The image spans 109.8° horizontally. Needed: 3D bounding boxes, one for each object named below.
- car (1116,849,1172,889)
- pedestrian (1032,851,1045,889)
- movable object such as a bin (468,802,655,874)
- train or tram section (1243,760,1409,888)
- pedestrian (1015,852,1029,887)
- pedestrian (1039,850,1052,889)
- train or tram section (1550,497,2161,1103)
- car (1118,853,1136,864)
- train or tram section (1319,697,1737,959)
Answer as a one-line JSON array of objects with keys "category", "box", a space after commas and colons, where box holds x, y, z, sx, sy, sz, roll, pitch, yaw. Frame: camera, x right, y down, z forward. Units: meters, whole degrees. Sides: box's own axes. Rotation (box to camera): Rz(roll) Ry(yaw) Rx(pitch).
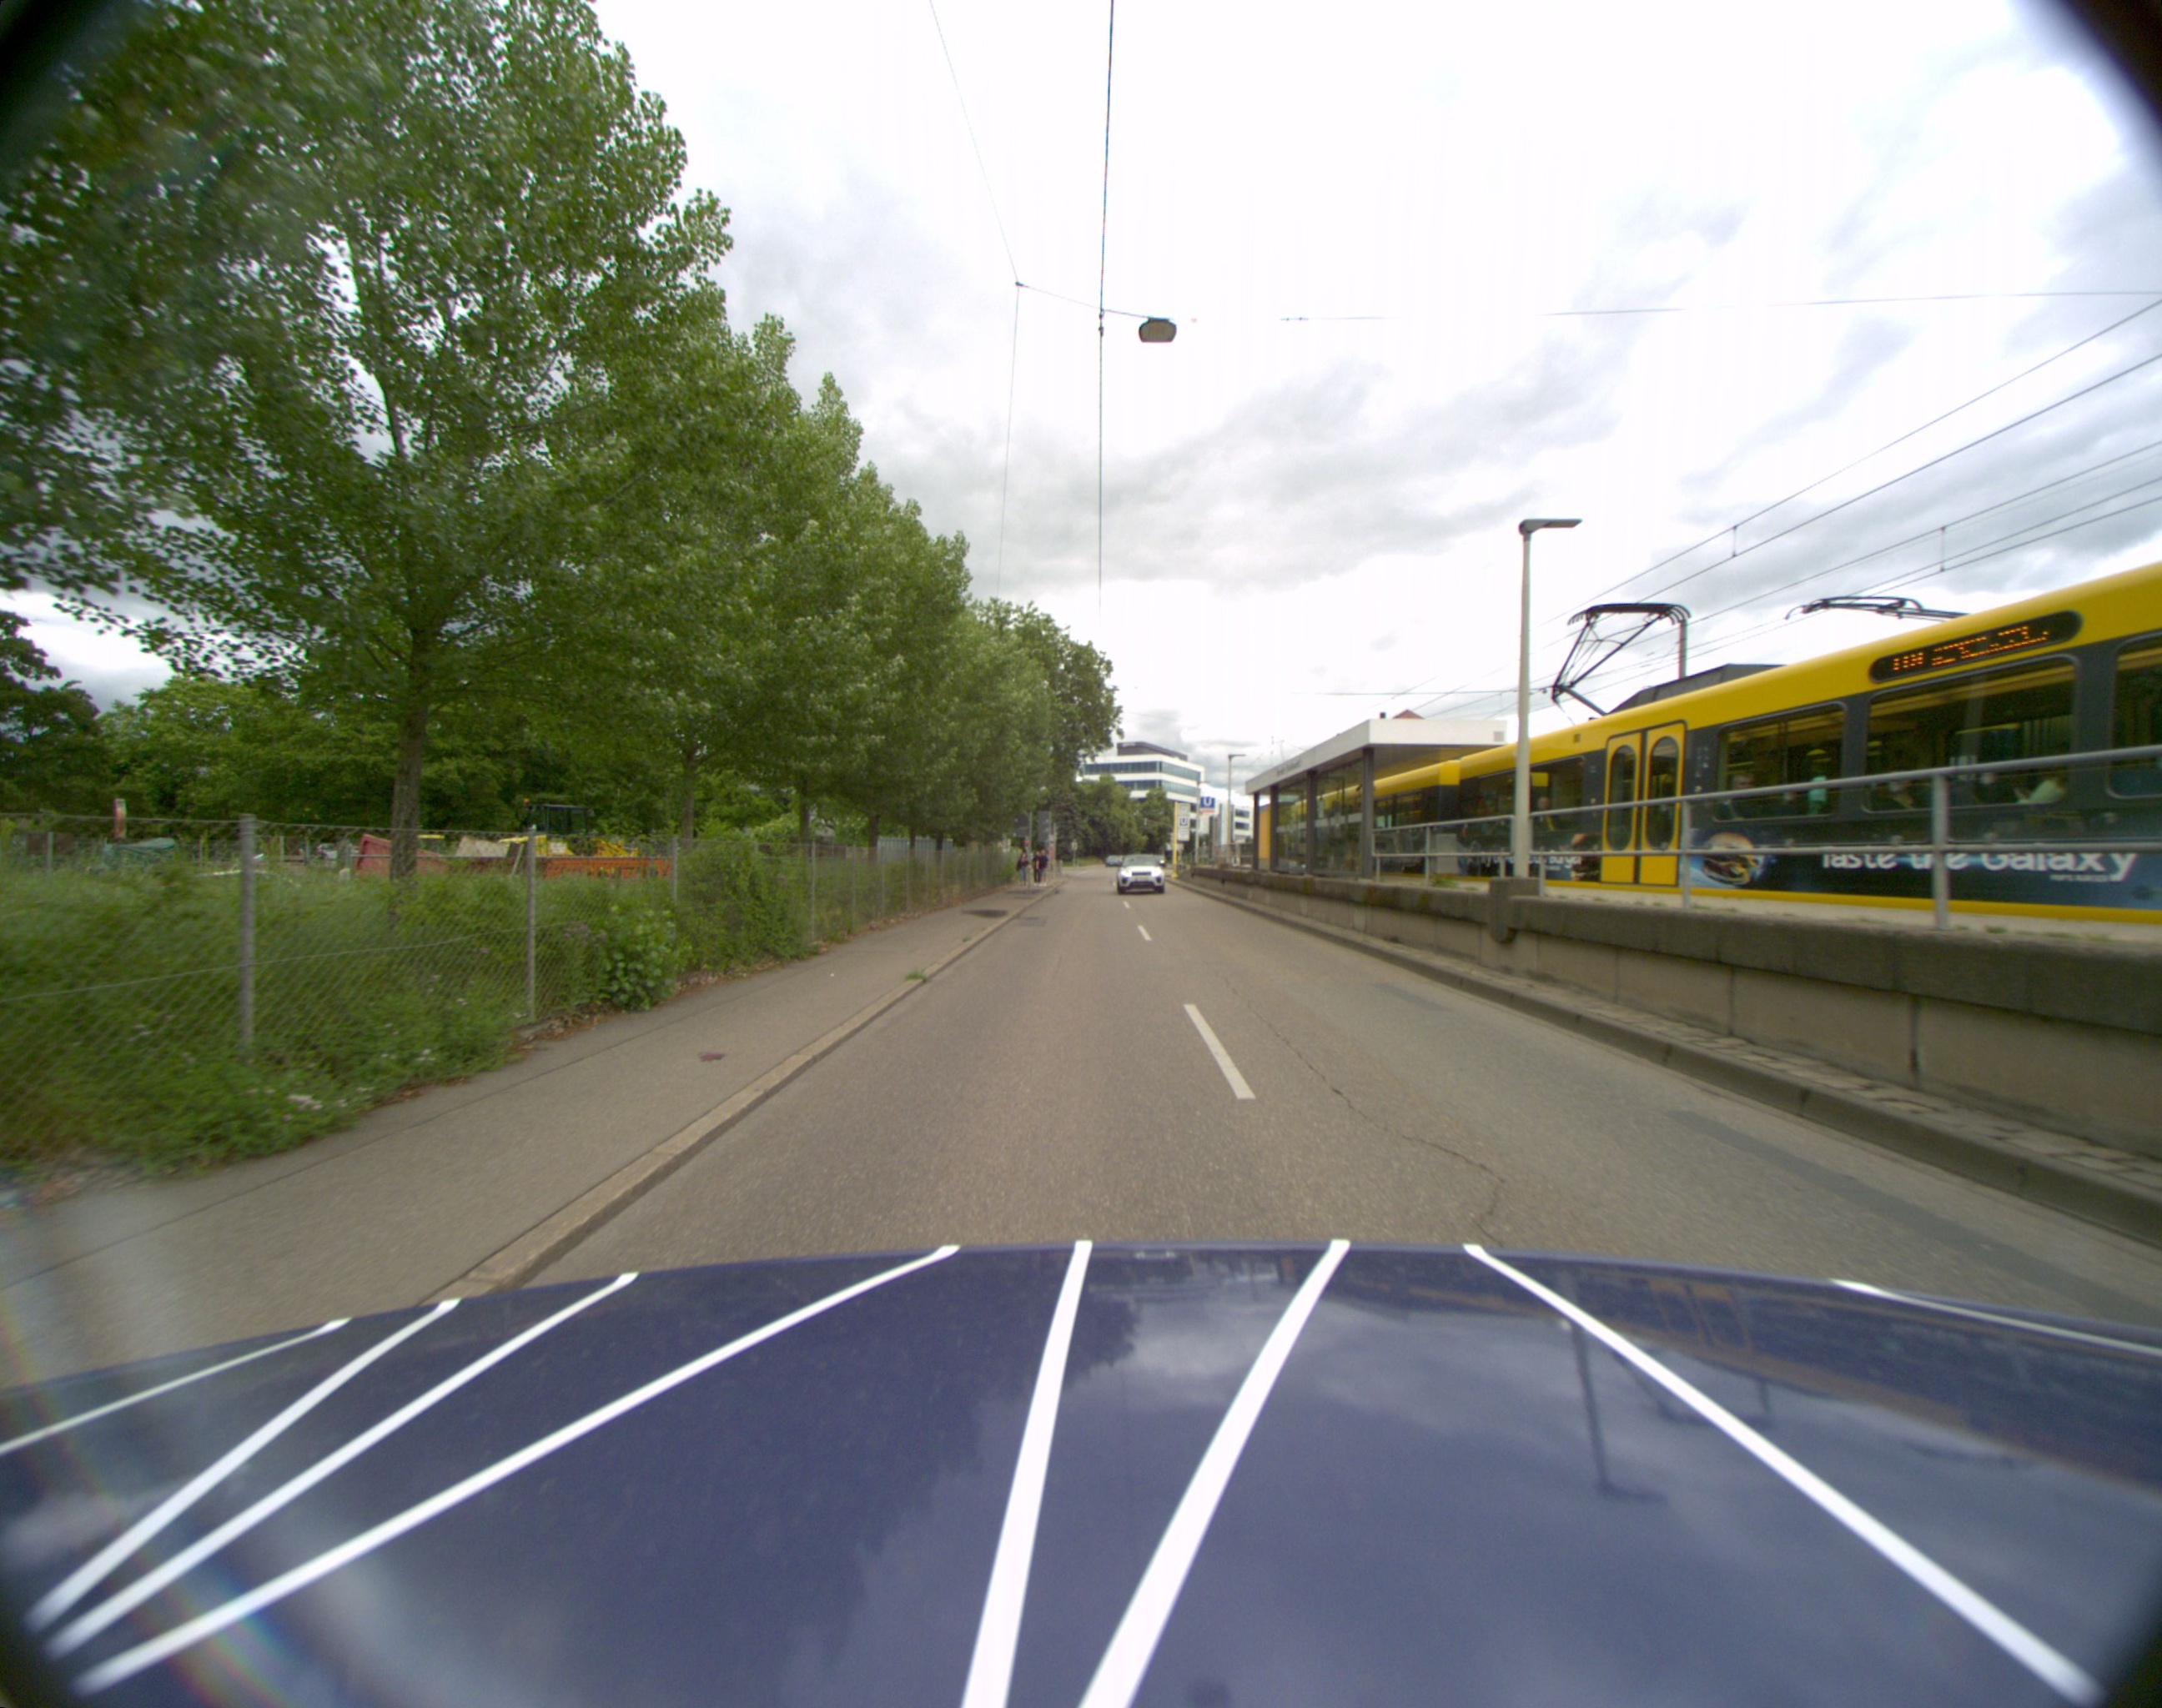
[{"category": "car", "box": [2.583, 0.673, 32.169, 1.916, 1.559, 4.114, 1, -2, -1]}, {"category": "pedestrian", "box": [-2.118, 0.779, 37.854, 0.604, 1.857, 0.672, 1, 1, 2]}, {"category": "movable object such as a bin", "box": [-15.942, -0.581, 23.613, 1.994, 2.003, 4.300, 2, 4, 25]}, {"category": "train or tram section", "box": [8.851, -0.856, 29.456, 2.747, 3.943, 11.913, 1, -1, 1]}, {"category": "pedestrian", "box": [-2.949, 0.782, 37.845, 0.604, 1.681, 0.671, 1, 4, 2]}, {"category": "pedestrian", "box": [-1.736, 0.769, 37.097, 0.604, 1.858, 0.671, 1, 4, 2]}, {"category": "train or tram section", "box": [8.403, -0.336, 5.553, 2.747, 3.943, 11.913, 1, -1, 1]}, {"category": "car", "box": [6.372, 0.622, 105.162, 1.746, 1.418, 4.170, 0, 0, 15]}, {"category": "train or tram section", "box": [8.655, -0.332, 17.494, 2.747, 3.943, 11.913, 1, -1, 1]}]
